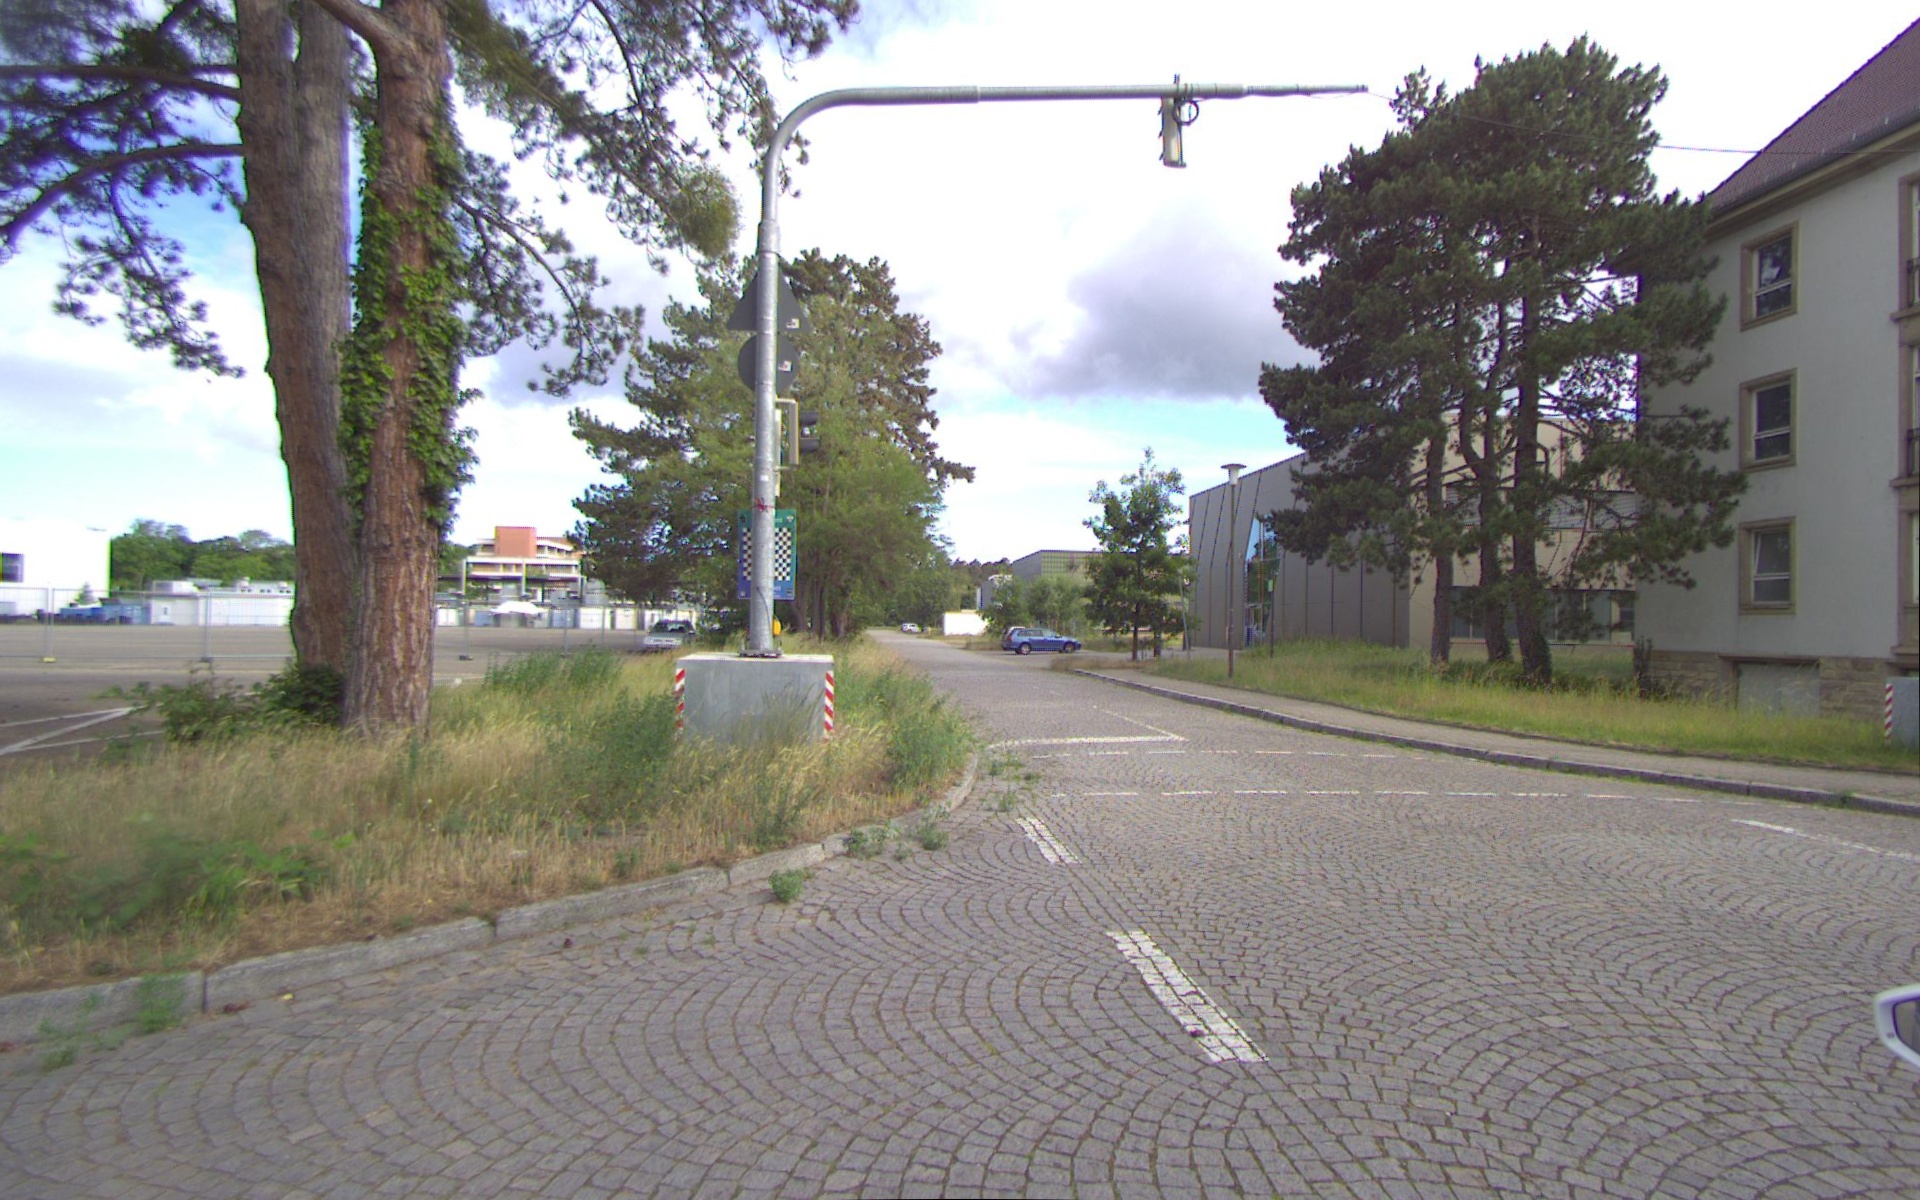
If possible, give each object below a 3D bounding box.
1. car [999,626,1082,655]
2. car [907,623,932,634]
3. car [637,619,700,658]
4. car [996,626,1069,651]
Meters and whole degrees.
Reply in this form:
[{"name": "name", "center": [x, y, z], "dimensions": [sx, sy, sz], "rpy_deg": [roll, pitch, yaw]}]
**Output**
[{"name": "car", "center": [4.647, 2.314, 58.165], "dimensions": [4.450, 1.552, 1.997], "rpy_deg": [0, -1, -9]}, {"name": "car", "center": [-6.950, 4.857, 172.091], "dimensions": [4.286, 1.803, 1.924], "rpy_deg": [1, -1, -5]}, {"name": "car", "center": [-11.980, 1.571, 41.584], "dimensions": [1.890, 1.496, 4.363], "rpy_deg": [1, -1, -8]}, {"name": "car", "center": [4.706, 2.495, 65.636], "dimensions": [4.447, 1.552, 1.999], "rpy_deg": [0, -1, -6]}]
